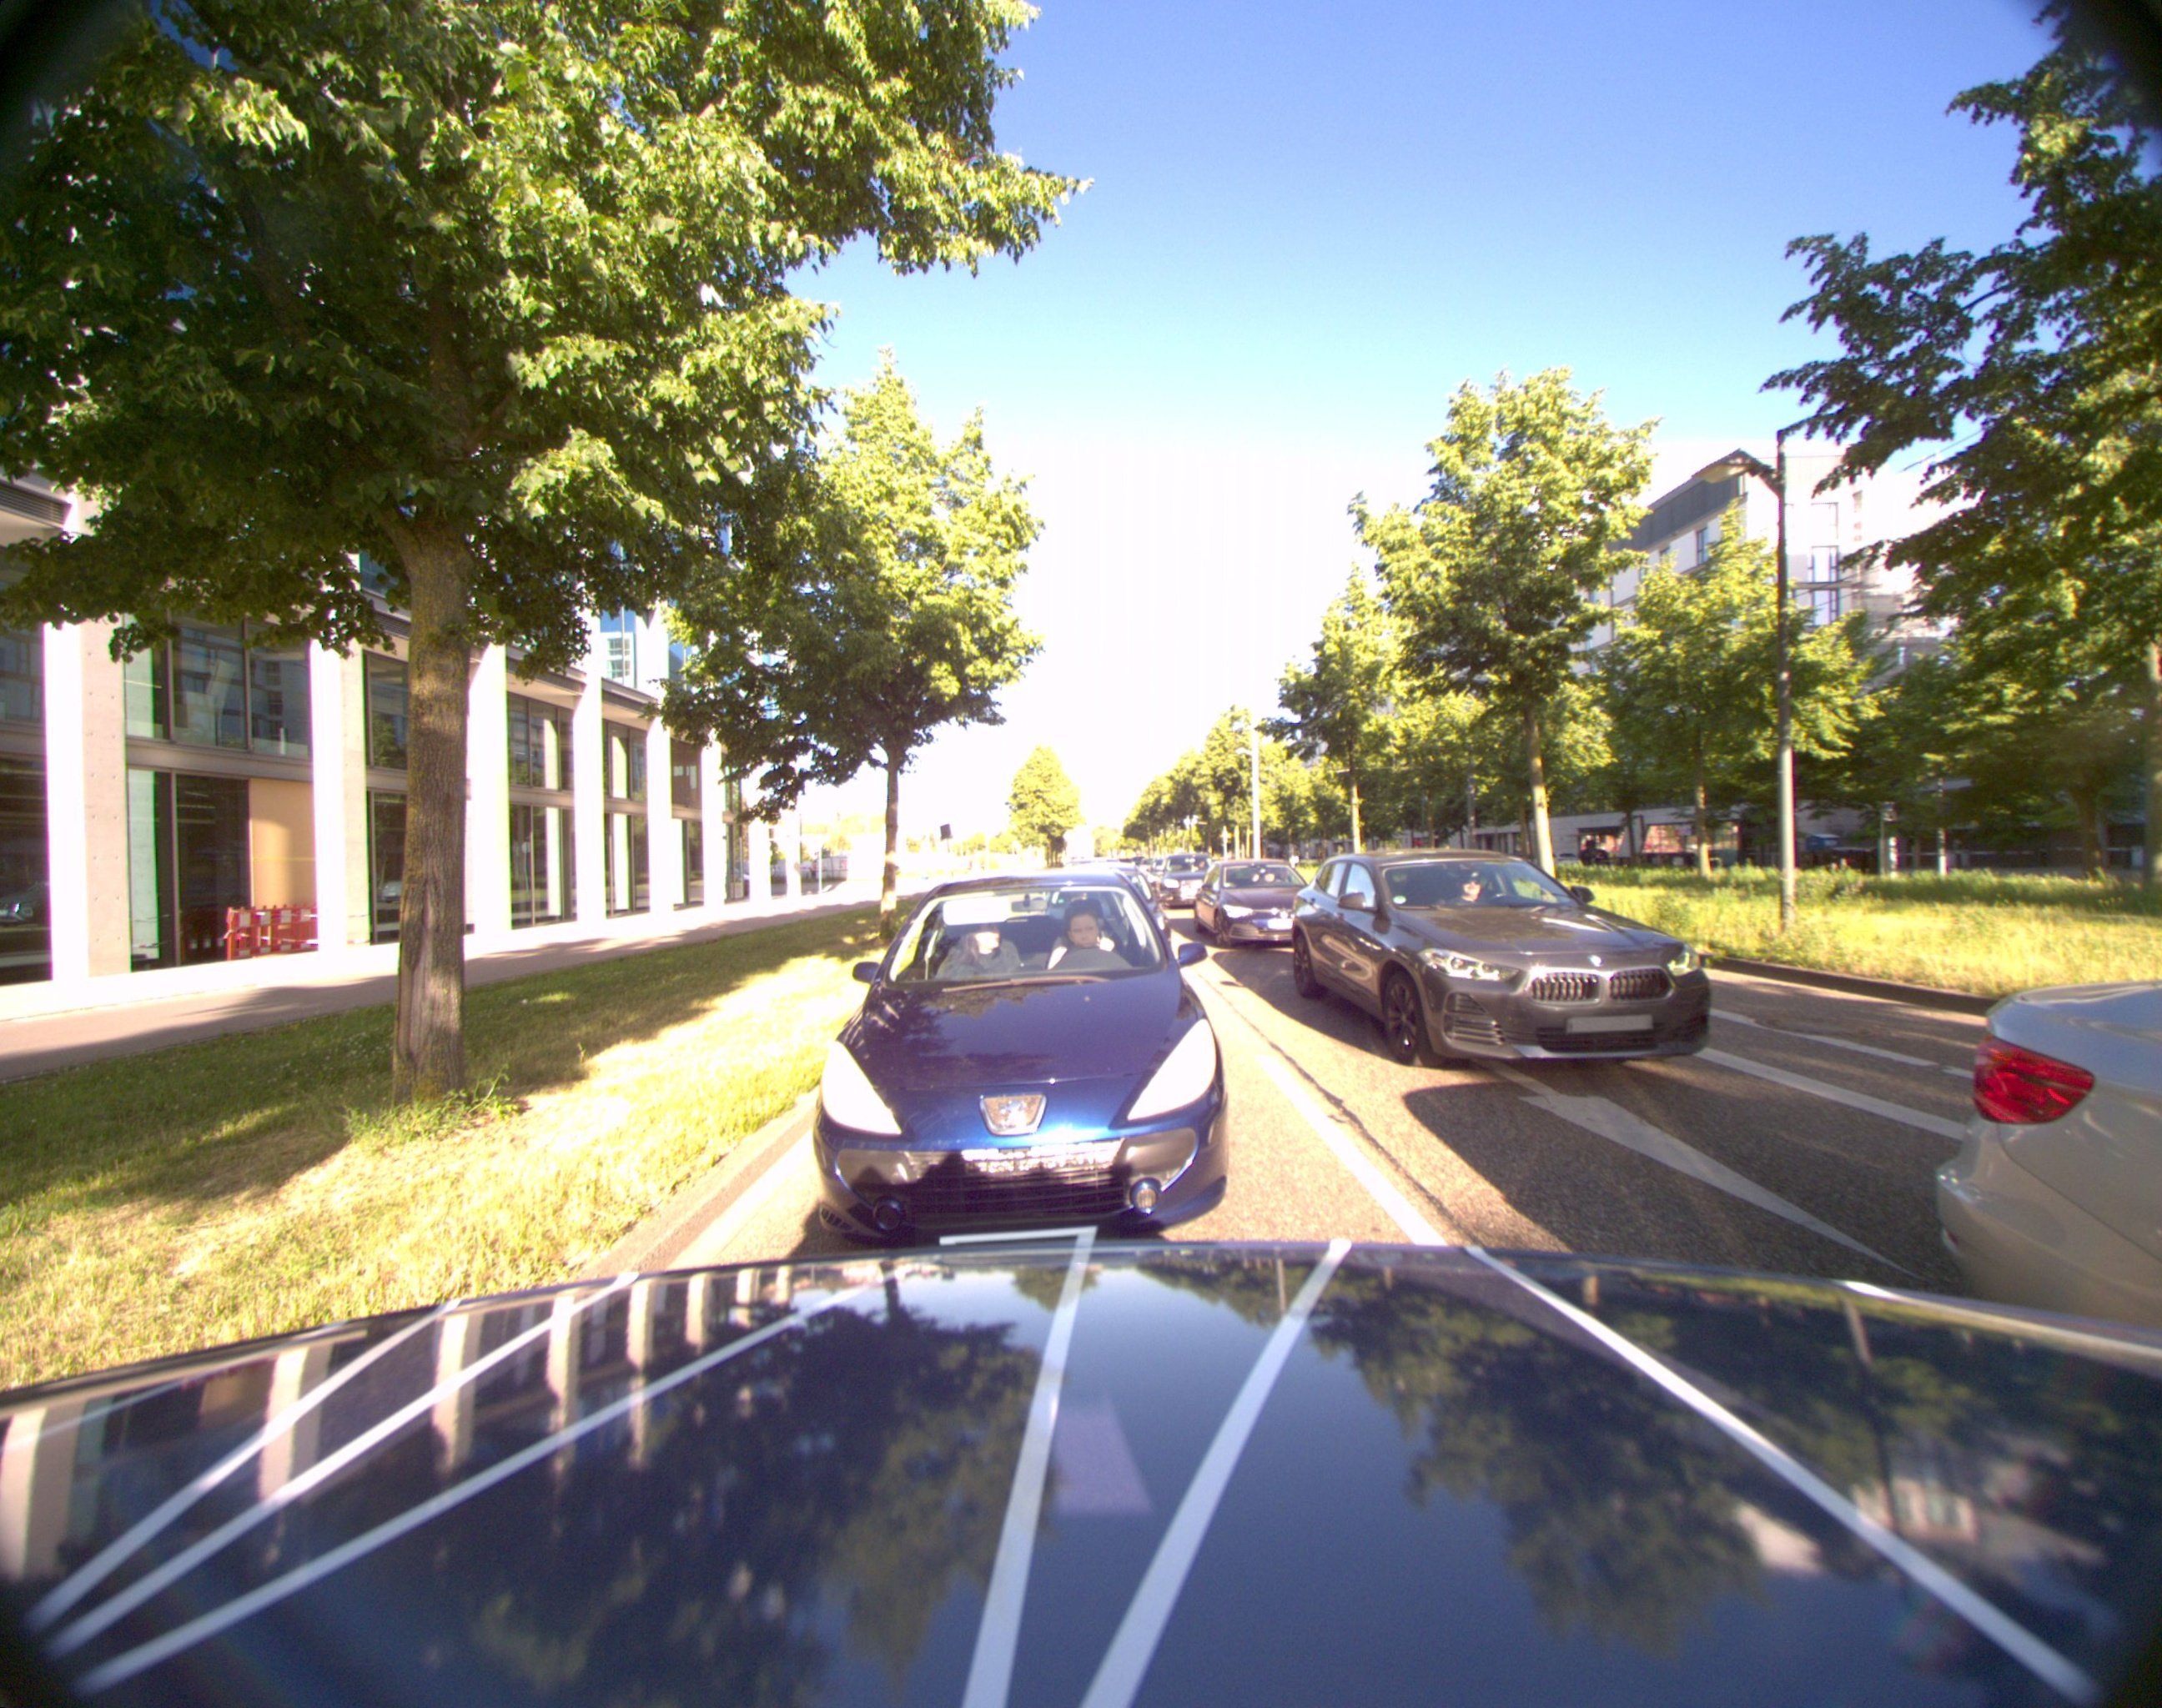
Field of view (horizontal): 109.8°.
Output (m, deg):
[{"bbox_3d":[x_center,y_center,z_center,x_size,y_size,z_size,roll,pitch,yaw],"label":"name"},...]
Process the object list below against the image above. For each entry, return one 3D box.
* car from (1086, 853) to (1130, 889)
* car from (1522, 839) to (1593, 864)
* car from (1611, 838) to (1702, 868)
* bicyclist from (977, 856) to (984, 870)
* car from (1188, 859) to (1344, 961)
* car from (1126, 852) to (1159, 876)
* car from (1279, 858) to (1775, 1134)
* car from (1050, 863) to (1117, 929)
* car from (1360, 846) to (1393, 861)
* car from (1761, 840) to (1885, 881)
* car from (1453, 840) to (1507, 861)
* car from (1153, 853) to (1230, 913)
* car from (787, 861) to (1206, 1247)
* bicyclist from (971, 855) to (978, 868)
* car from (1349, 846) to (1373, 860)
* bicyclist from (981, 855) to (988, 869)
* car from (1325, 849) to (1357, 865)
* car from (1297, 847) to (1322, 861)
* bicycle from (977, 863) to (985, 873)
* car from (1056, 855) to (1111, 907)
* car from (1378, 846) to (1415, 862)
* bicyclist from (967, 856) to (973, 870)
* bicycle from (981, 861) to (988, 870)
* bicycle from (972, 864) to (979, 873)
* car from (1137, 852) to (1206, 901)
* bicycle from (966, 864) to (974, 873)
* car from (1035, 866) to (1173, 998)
[{"bbox_3d":[1.310,0.804,39.004,2.012,1.689,4.791,-1,0,-1],"label":"car"},{"bbox_3d":[34.832,-0.180,55.733,2.012,1.689,4.791,-1,0,-3],"label":"car"},{"bbox_3d":[34.420,-0.047,45.609,1.858,1.674,4.792,-1,0,1],"label":"car"},{"bbox_3d":[-9.188,0.845,69.650,0.534,1.210,0.507,-2,1,1],"label":"bicyclist"},{"bbox_3d":[3.049,0.848,13.437,1.812,1.445,4.254,-1,0,2],"label":"car"},{"bbox_3d":[4.457,0.701,55.738,2.012,1.689,4.791,-1,0,-1],"label":"car"},{"bbox_3d":[3.083,0.828,6.367,1.812,1.513,4.029,-1,0,1],"label":"car"},{"bbox_3d":[0.084,0.932,18.157,1.407,1.326,3.785,-1,0,1],"label":"car"},{"bbox_3d":[34.695,-0.061,89.379,2.012,1.689,4.791,-1,0,-1],"label":"car"},{"bbox_3d":[34.236,0.294,35.220,1.858,1.739,4.000,-1,0,1],"label":"car"},{"bbox_3d":[34.629,-0.281,66.072,2.012,1.689,4.791,-1,0,-3],"label":"car"},{"bbox_3d":[3.194,0.793,22.705,1.812,1.581,4.165,-1,0,2],"label":"car"},{"bbox_3d":[-0.321,0.843,5.018,1.686,1.513,3.785,-1,0,1],"label":"car"},{"bbox_3d":[-10.342,0.709,73.922,0.534,1.282,0.457,-2,1,1],"label":"bicyclist"},{"bbox_3d":[34.704,-0.172,94.207,1.601,1.659,3.743,-1,0,1],"label":"car"},{"bbox_3d":[-9.417,0.770,73.847,0.534,1.282,0.521,-2,1,1],"label":"bicyclist"},{"bbox_3d":[24.584,0.292,72.025,1.666,1.384,4.000,-1,0,1],"label":"car"},{"bbox_3d":[28.854,0.014,96.076,1.858,1.719,4.792,-1,0,1],"label":"car"},{"bbox_3d":[-9.172,1.268,69.650,0.464,0.813,1.344,-2,1,1],"label":"bicycle"},{"bbox_3d":[0.096,0.867,25.971,1.705,1.591,3.785,-1,0,1],"label":"car"},{"bbox_3d":[34.663,-0.010,83.572,2.012,1.689,4.791,-1,0,-1],"label":"car"},{"bbox_3d":[-10.200,0.846,69.773,0.448,1.282,0.418,-2,1,1],"label":"bicyclist"},{"bbox_3d":[-9.397,1.157,73.912,0.464,0.813,1.344,-2,1,1],"label":"bicycle"},{"bbox_3d":[-10.276,1.416,73.994,0.464,0.813,1.344,-2,1,1],"label":"bicycle"},{"bbox_3d":[3.378,0.800,29.228,2.012,1.689,4.791,-1,0,-1],"label":"car"},{"bbox_3d":[-10.179,1.307,69.640,0.415,0.813,1.320,-2,1,1],"label":"bicycle"},{"bbox_3d":[0.304,0.974,11.305,1.612,1.463,4.395,-1,0,1],"label":"car"}]
